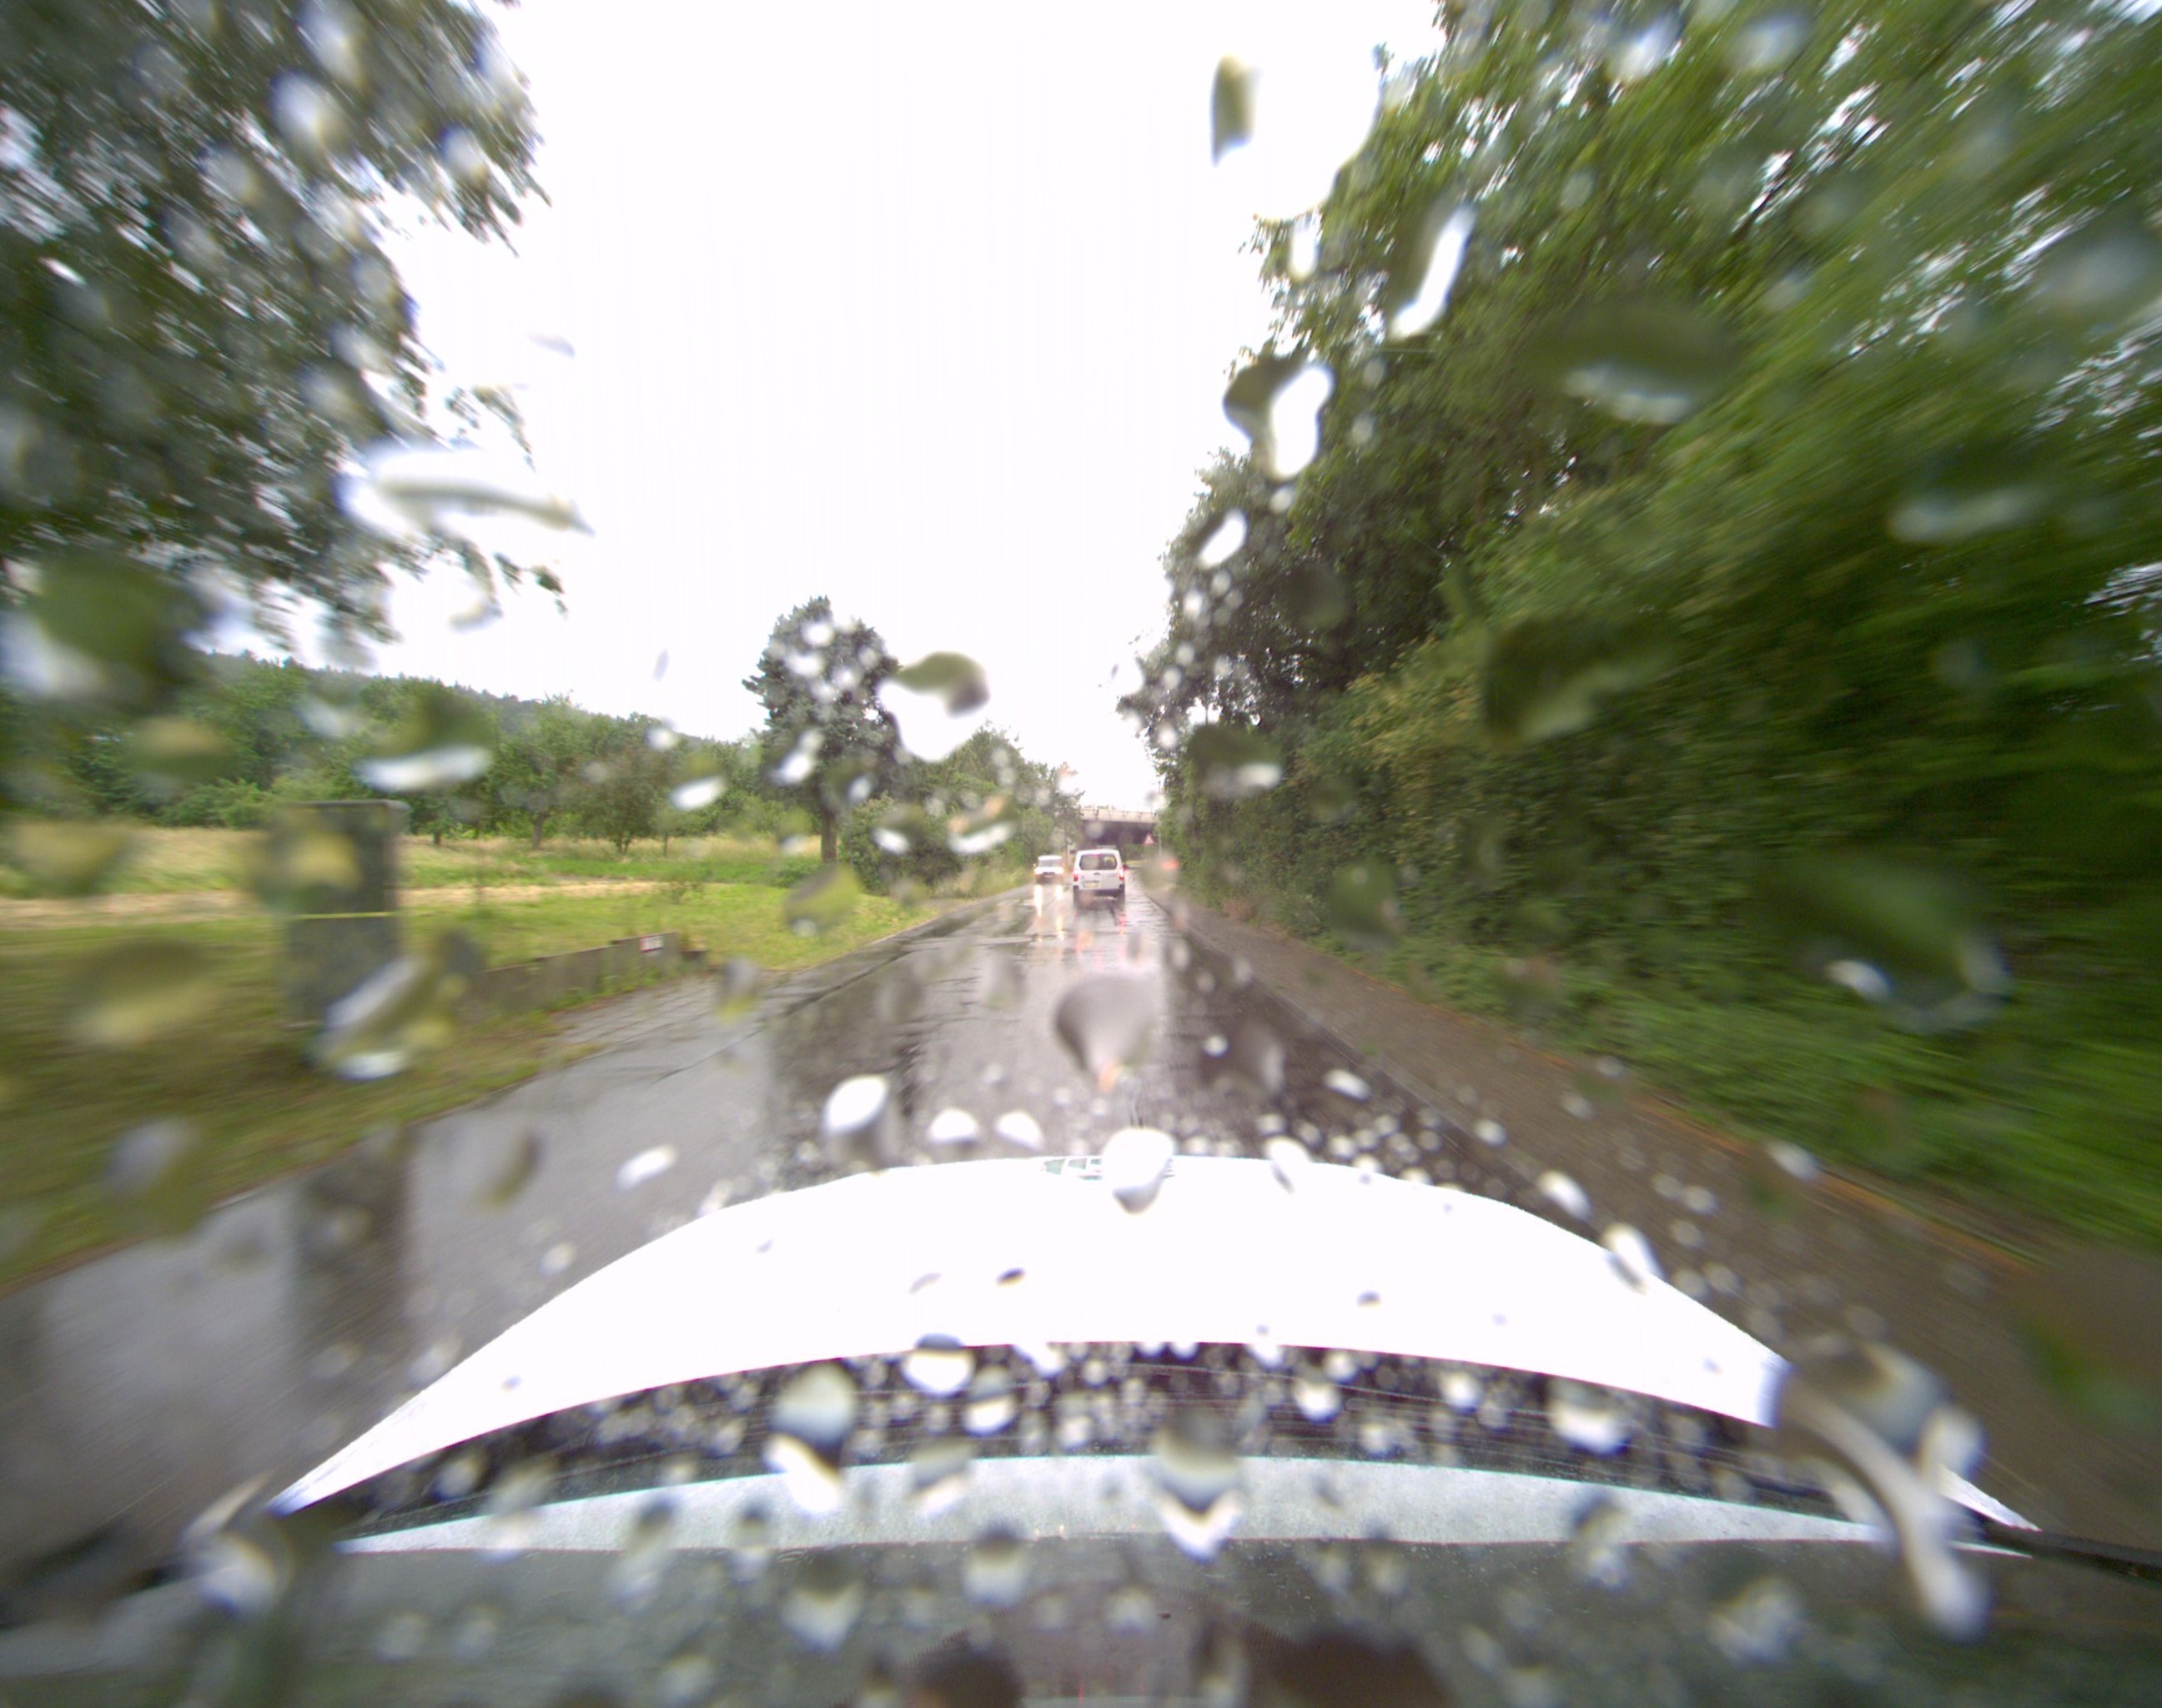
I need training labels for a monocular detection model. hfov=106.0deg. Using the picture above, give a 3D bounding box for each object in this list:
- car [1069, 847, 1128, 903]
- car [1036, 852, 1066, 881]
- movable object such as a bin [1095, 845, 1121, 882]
[{"bbox_3d":[0.649,0.691,29.154,1.889,1.807,4.002,-2,0,2],"label":"car"},{"bbox_3d":[-1.937,0.852,54.407,1.817,1.832,4.306,-1,-1,0],"label":"car"},{"bbox_3d":[1.994,0.685,59.008,1.753,2.548,4.243,-1,-1,4],"label":"movable object such as a bin"}]
